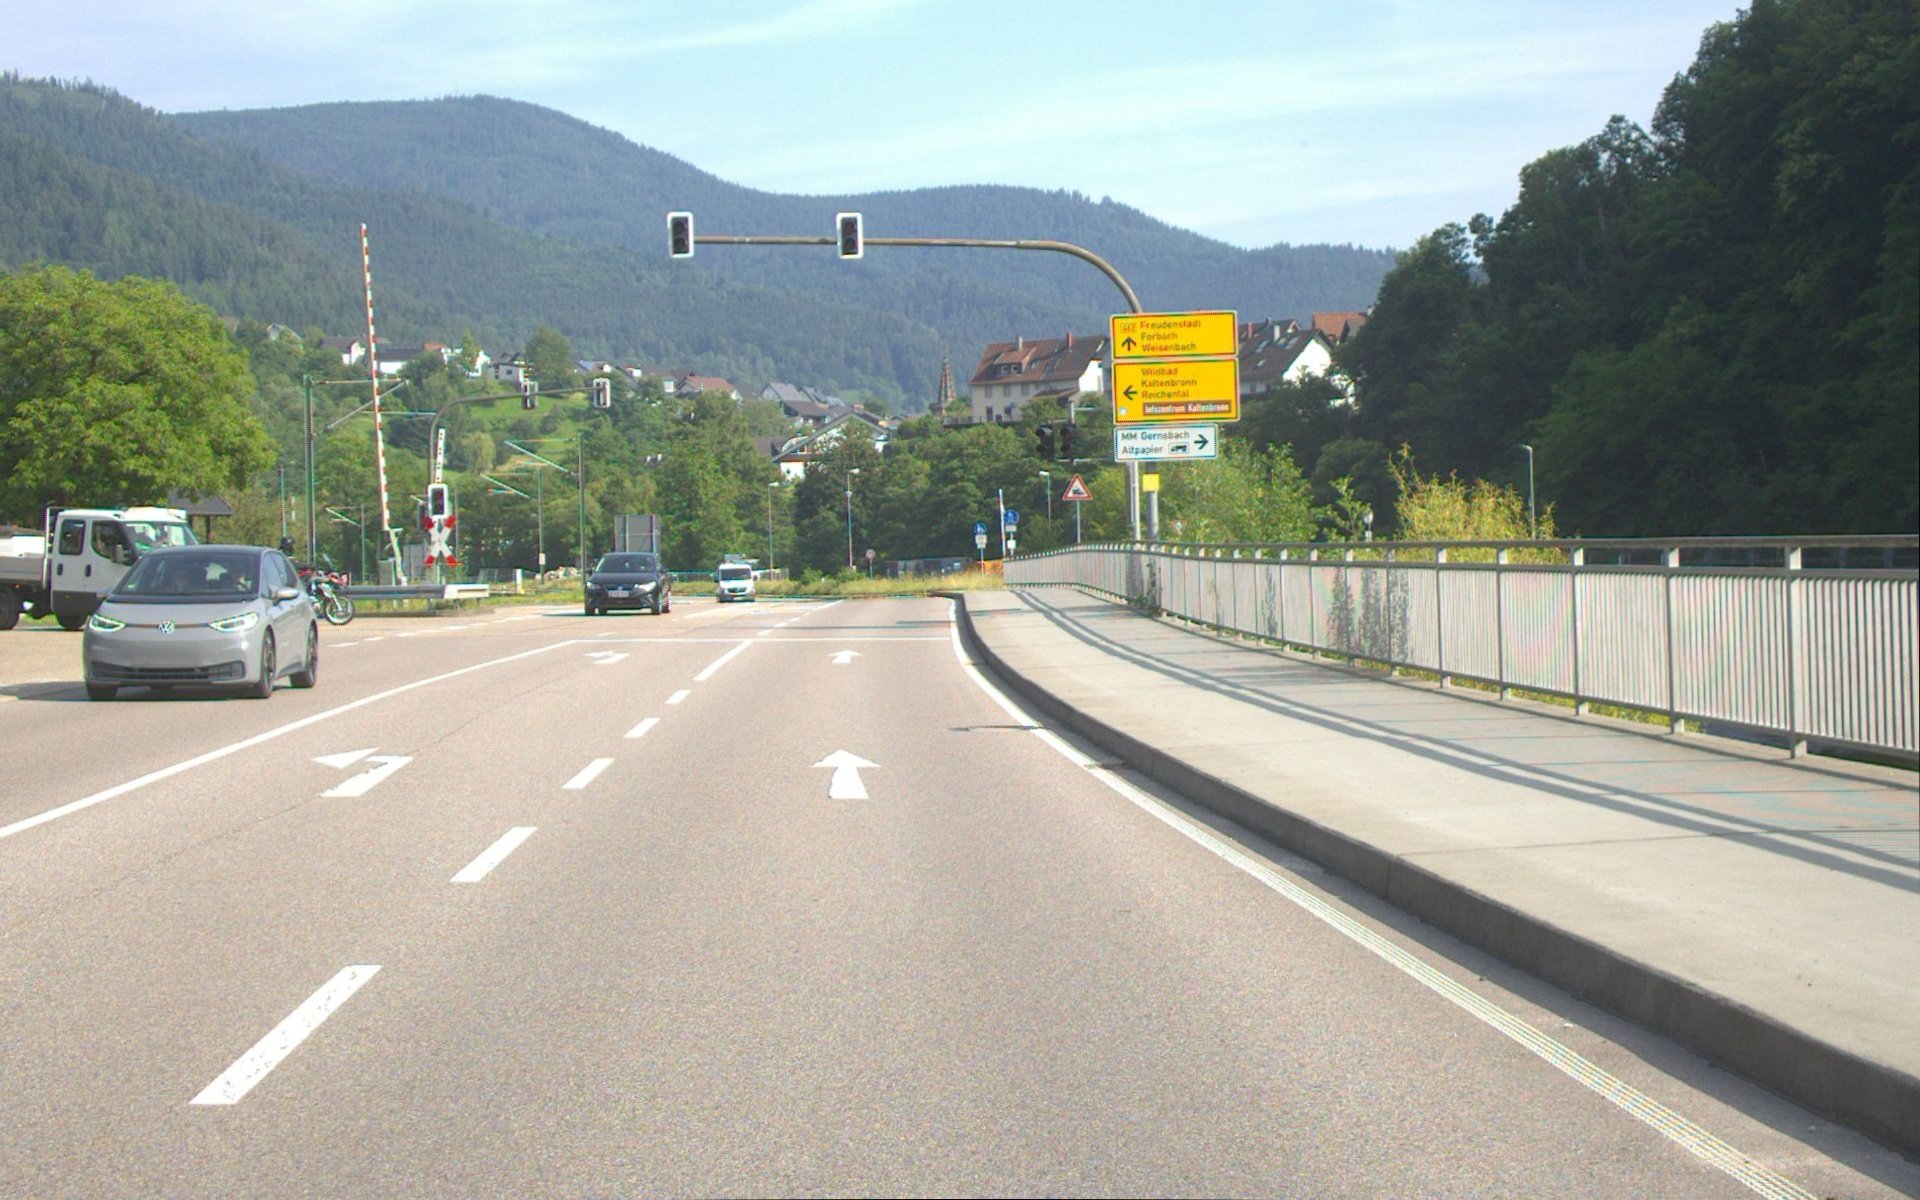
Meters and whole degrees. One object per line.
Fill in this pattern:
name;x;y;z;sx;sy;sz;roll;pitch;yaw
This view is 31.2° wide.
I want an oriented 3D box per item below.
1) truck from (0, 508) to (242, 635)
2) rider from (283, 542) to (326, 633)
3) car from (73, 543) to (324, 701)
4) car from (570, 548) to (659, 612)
truck;-16.109;-0.560;63.355;5.995;2.258;1.996;1;2;34
rider;-13.150;-0.253;68.948;0.752;1.813;0.743;0;2;-16
car;-7.790;0.177;35.528;1.758;1.516;4.205;0;1;-2
car;-7.917;-0.476;79.046;1.773;1.412;3.786;-1;1;-2
